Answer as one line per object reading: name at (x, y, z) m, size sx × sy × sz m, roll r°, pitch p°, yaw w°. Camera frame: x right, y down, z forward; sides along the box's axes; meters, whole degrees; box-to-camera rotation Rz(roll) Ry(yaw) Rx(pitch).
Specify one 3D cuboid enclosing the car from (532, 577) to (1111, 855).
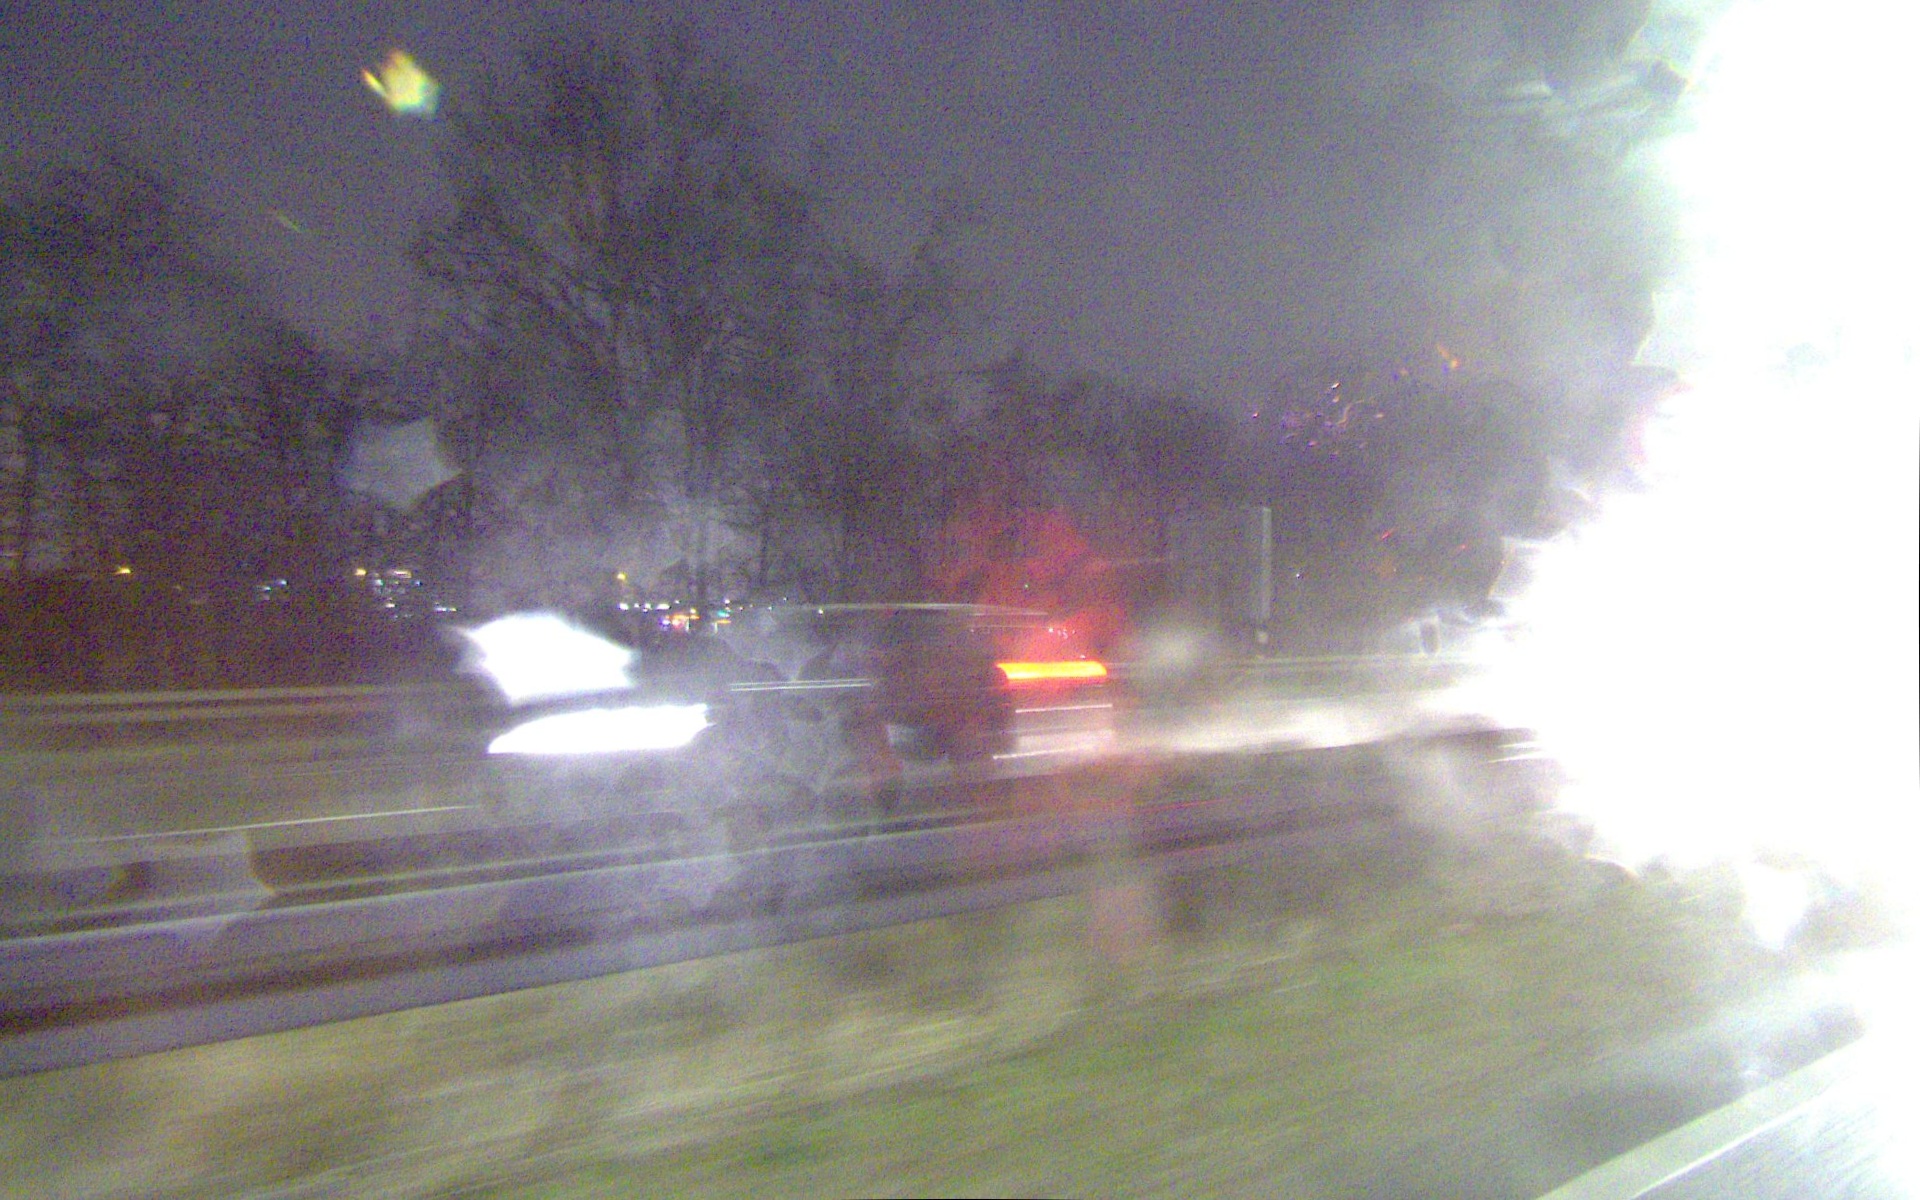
car at (-0.963, 0.732, 7.626) m, size 3.958 × 1.589 × 1.799 m, roll 0°, pitch -4°, yaw -34°

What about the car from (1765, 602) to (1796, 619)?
car at (89.428, 1.101, 109.487) m, size 3.970 × 1.709 × 1.975 m, roll -1°, pitch 4°, yaw -42°

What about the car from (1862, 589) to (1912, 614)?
car at (81.640, 0.138, 88.537) m, size 1.962 × 2.040 × 3.998 m, roll 2°, pitch 1°, yaw 23°

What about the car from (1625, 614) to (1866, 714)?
car at (12.851, 0.997, 16.354) m, size 4.416 × 1.412 × 1.806 m, roll 0°, pitch -4°, yaw -35°
